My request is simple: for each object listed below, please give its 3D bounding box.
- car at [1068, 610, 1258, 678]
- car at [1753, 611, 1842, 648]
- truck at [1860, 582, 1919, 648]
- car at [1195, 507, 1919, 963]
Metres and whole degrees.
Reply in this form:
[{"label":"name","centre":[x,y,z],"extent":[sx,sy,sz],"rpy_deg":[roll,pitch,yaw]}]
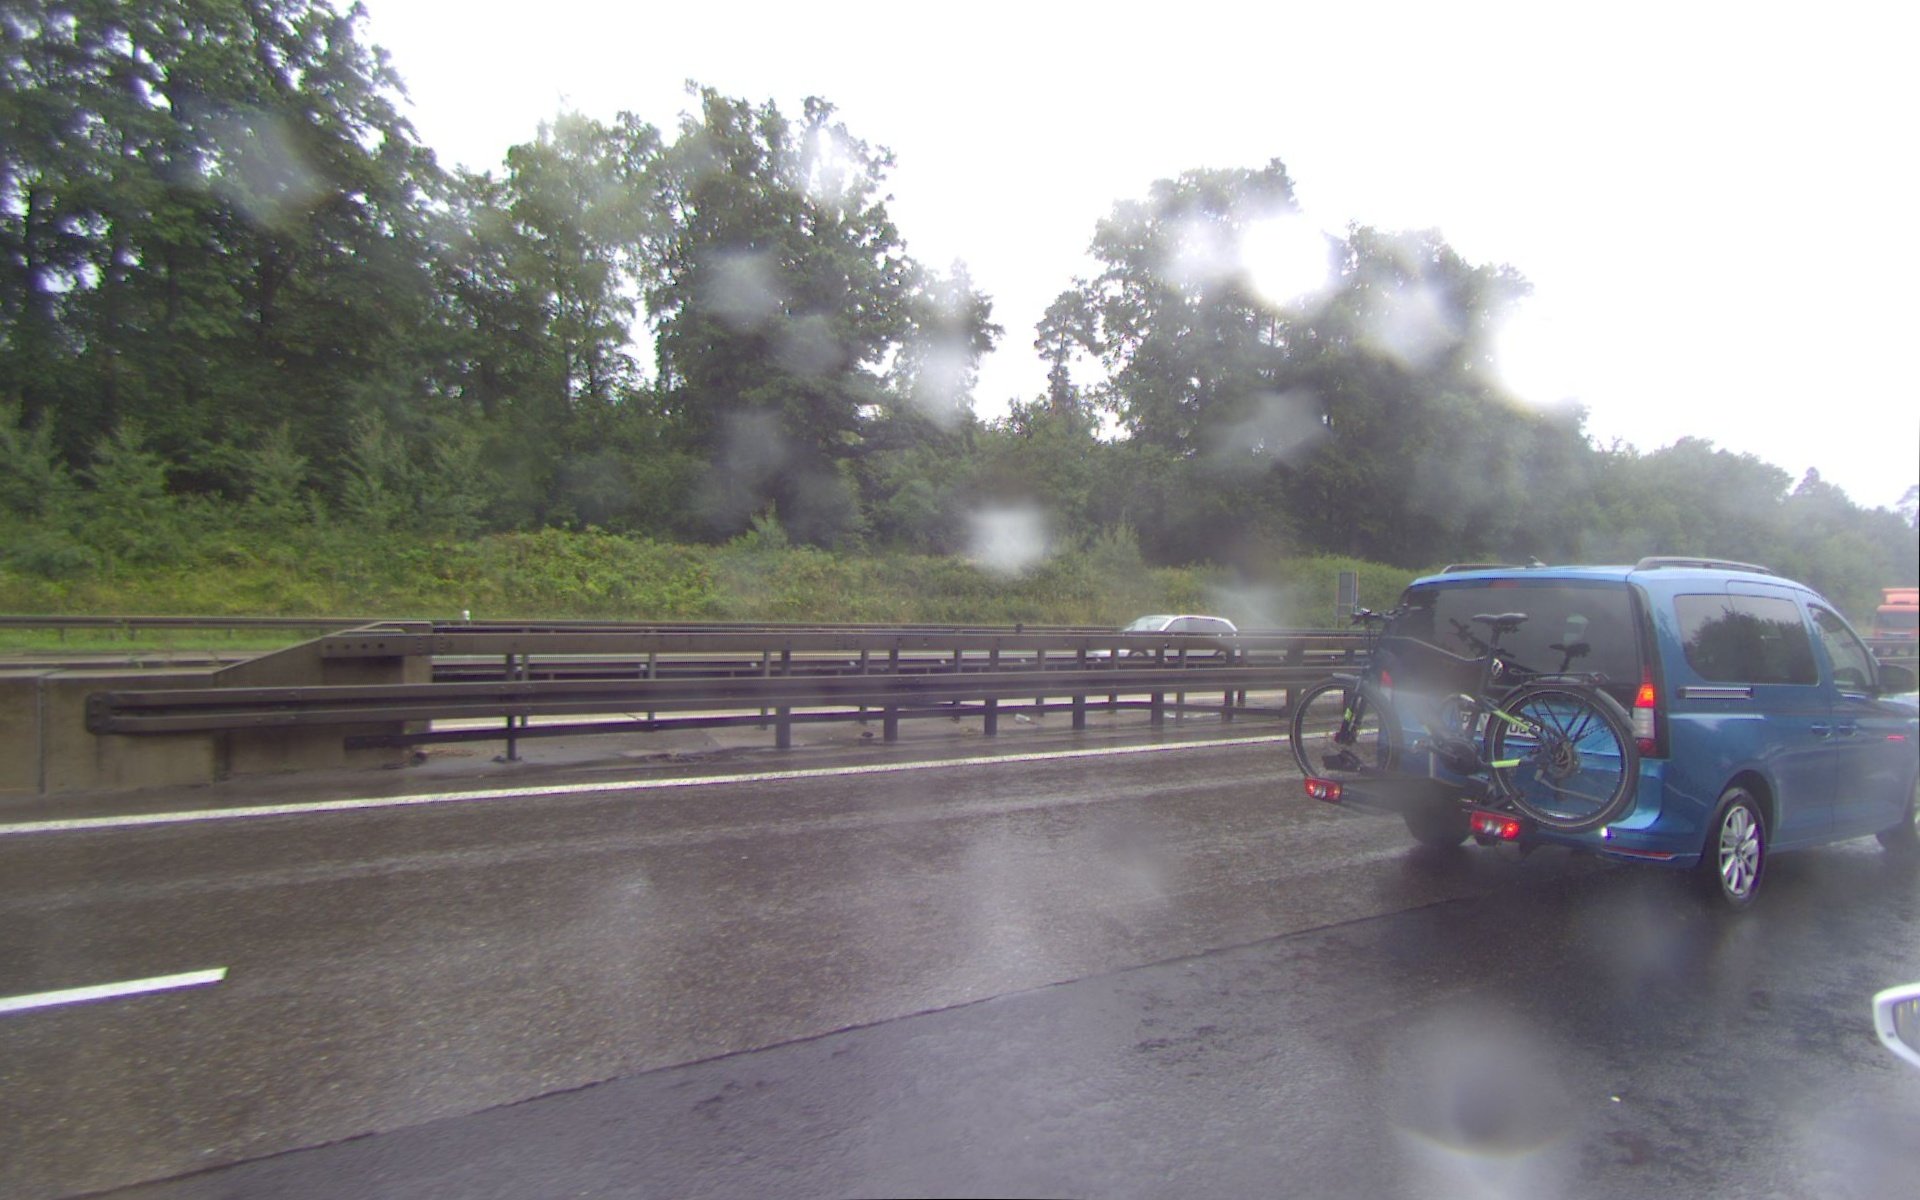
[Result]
[{"label":"car","centre":[5.030,1.042,24.687],"extent":[4.557,1.517,1.826],"rpy_deg":[1,0,-32]},{"label":"car","centre":[38.107,1.339,45.698],"extent":[3.952,1.617,1.852],"rpy_deg":[1,0,-30]},{"label":"truck","centre":[61.844,1.027,64.762],"extent":[9.908,3.984,2.691],"rpy_deg":[1,0,-30]},{"label":"car","centre":[4.178,0.612,6.468],"extent":[4.954,1.937,2.260],"rpy_deg":[1,0,-29]}]
